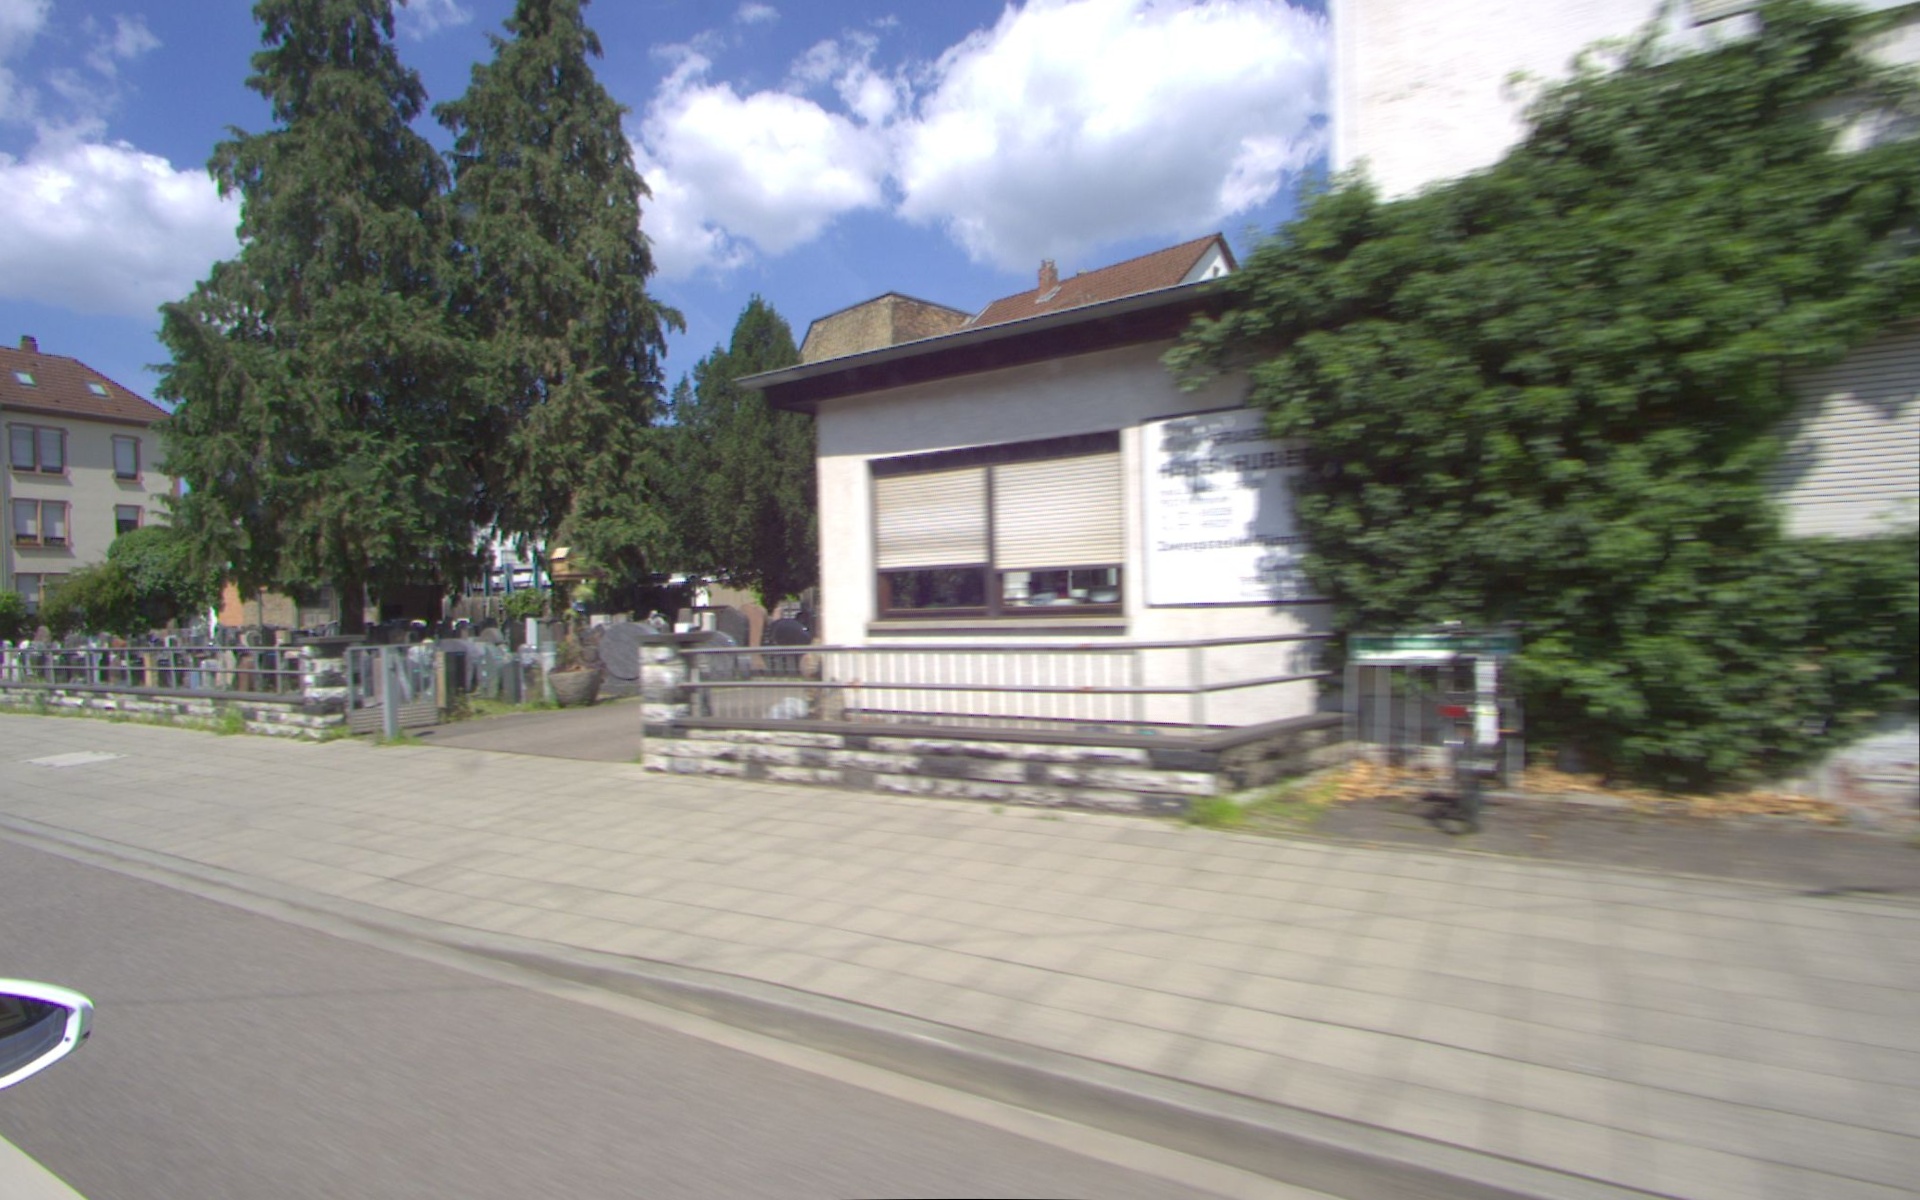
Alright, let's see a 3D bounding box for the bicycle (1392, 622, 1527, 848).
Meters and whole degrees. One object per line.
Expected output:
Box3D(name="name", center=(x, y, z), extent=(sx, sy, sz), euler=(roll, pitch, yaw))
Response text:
Box3D(name="bicycle", center=(3.010, 0.726, 5.973), extent=(0.424, 1.101, 1.526), euler=(-1, 2, 37))
